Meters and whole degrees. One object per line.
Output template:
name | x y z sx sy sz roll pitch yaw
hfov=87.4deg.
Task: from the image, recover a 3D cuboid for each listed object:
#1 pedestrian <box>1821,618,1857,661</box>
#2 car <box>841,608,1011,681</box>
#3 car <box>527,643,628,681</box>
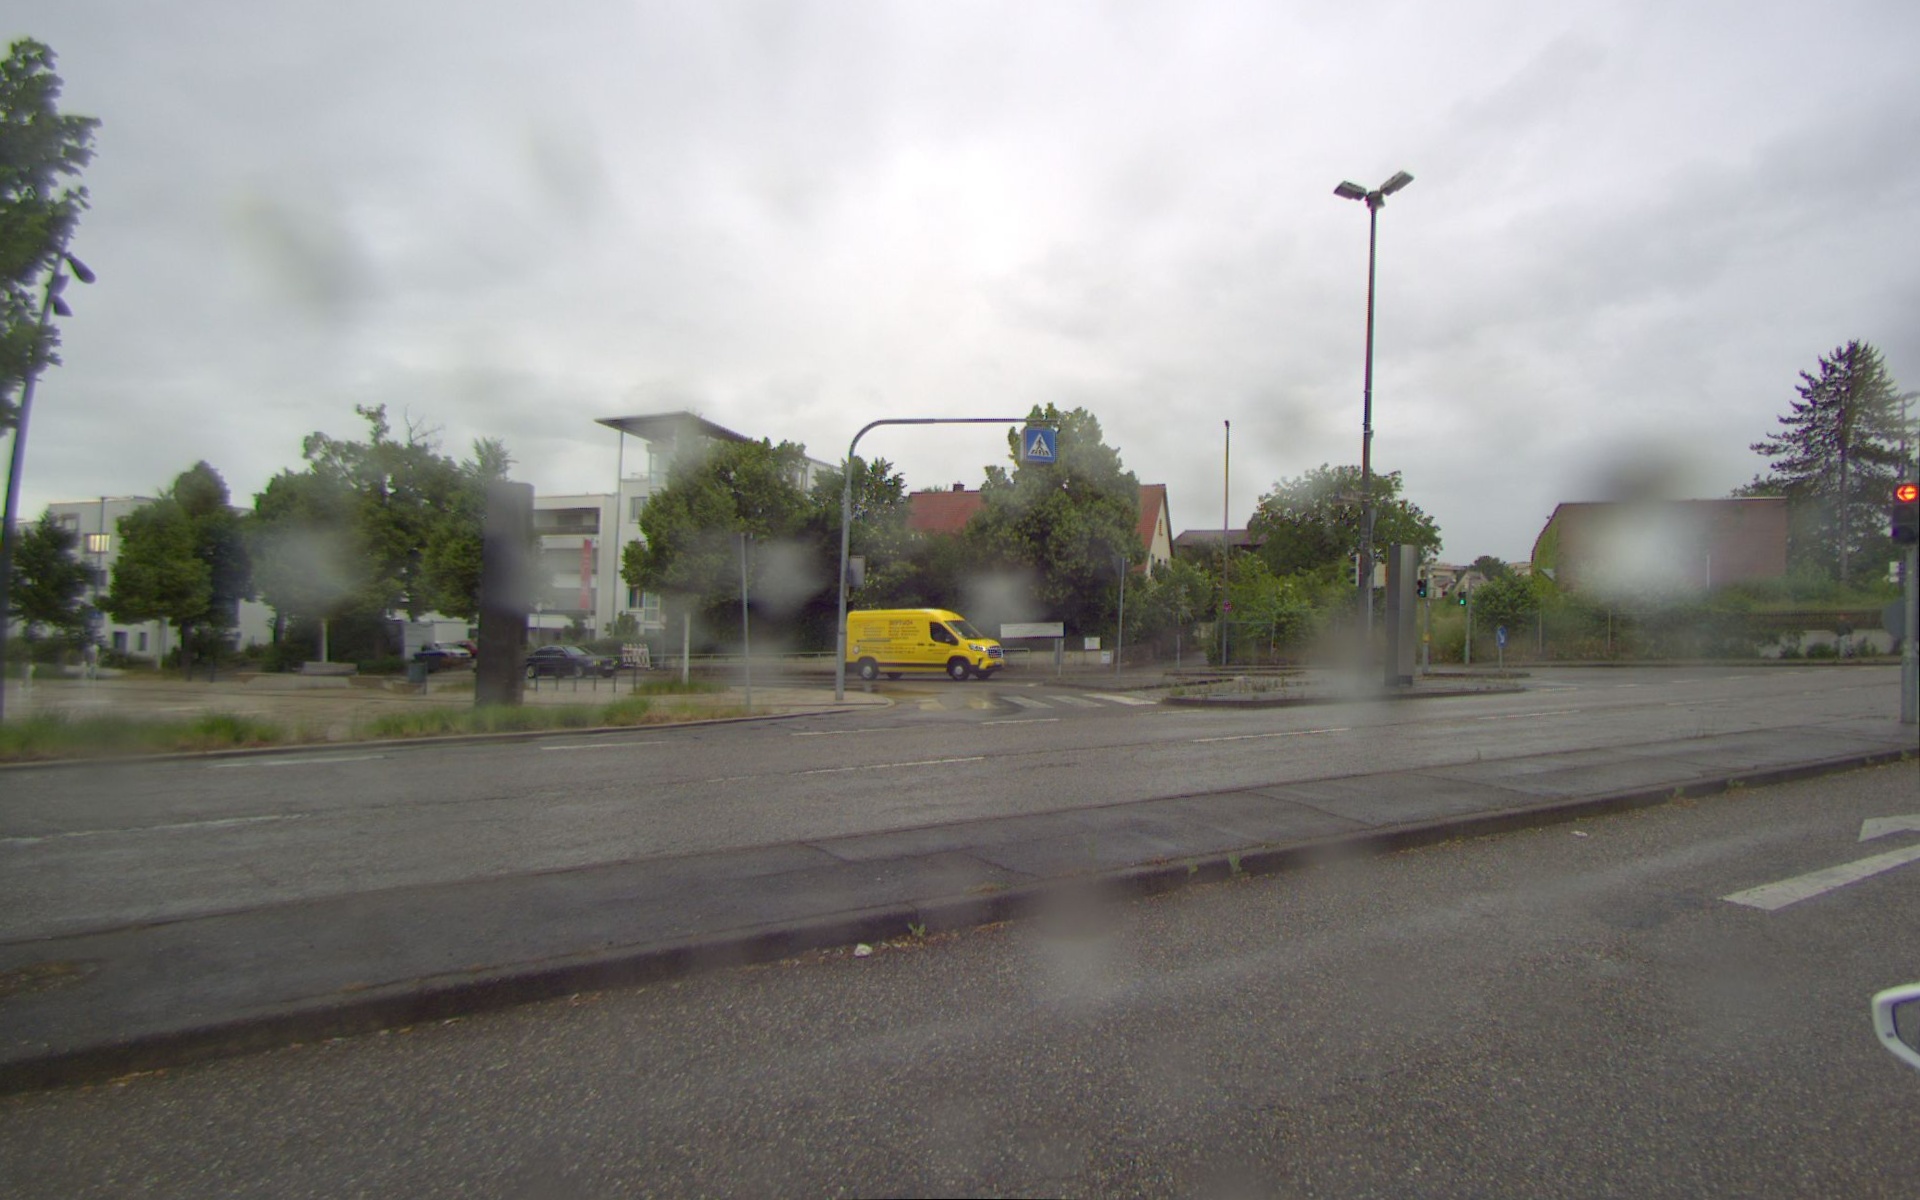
pedestrian | 32.809 1.468 37.497 0.816 1.588 0.756 1 -3 -31
car | -1.247 1.620 35.624 5.808 2.441 1.998 -2 -3 27
car | -16.370 2.646 42.940 3.929 1.559 1.997 -2 -3 29
